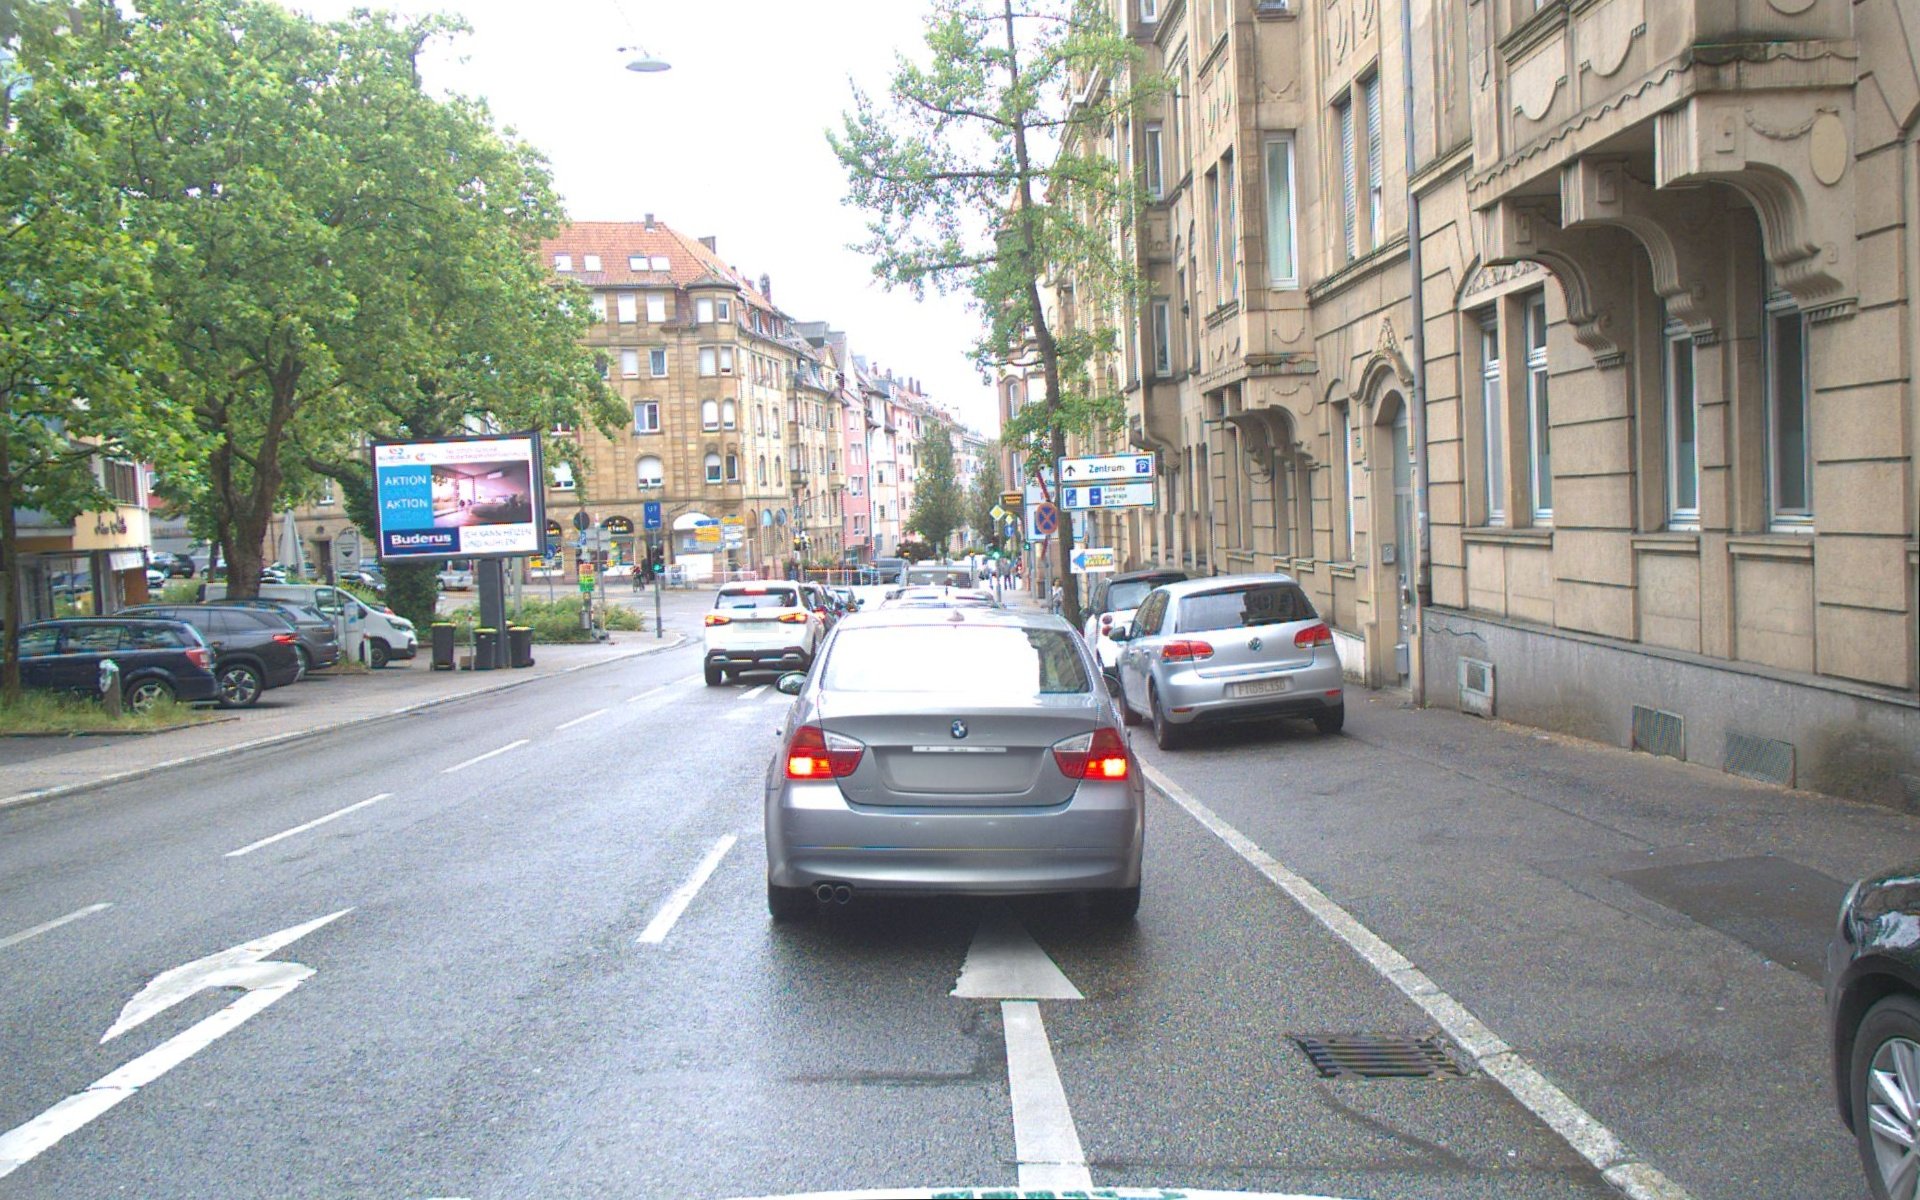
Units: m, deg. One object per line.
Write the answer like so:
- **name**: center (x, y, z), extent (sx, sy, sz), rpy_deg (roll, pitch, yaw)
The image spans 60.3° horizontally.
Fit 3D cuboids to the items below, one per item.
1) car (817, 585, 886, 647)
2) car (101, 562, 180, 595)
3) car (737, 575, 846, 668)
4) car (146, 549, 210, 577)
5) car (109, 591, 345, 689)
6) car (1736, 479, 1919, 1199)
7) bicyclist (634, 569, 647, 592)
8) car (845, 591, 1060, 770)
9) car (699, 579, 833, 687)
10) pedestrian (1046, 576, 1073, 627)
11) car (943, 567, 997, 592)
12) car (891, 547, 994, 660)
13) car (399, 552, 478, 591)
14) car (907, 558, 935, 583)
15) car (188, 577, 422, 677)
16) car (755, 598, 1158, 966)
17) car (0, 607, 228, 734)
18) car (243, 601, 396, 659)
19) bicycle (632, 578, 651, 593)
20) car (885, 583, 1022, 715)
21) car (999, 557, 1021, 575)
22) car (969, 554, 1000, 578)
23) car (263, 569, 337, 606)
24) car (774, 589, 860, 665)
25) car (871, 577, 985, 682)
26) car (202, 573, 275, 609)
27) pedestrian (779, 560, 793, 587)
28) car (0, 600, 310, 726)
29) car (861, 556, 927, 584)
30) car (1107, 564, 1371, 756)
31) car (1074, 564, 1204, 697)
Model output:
- **car**: center (-3.164, 0.436, 48.949), extent (1.723, 1.737, 4.000), rpy_deg (-1, 1, 0)
- **car**: center (-47.292, -1.231, 95.435), extent (4.155, 1.756, 1.998), rpy_deg (0, 3, 29)
- **car**: center (-3.300, 0.383, 33.070), extent (1.723, 1.737, 4.000), rpy_deg (-1, 1, 0)
- **car**: center (-50.712, -2.410, 107.222), extent (3.909, 1.718, 1.726), rpy_deg (1, 0, 27)
- **car**: center (-15.002, 0.792, 34.116), extent (4.295, 1.815, 1.927), rpy_deg (-2, 0, -22)
- **car**: center (2.818, 0.520, 1.955), extent (1.724, 1.679, 4.098), rpy_deg (-6, 1, 0)
- **bicyclist**: center (-18.508, -1.119, 95.813), extent (0.556, 1.295, 0.690), rpy_deg (1, -1, 11)
- **car**: center (-0.051, 0.638, 15.354), extent (1.723, 1.407, 4.000), rpy_deg (-1, 1, 0)
- **car**: center (-3.159, 0.501, 27.688), extent (1.830, 1.654, 3.999), rpy_deg (-1, 0, -1)
- **pedestrian**: center (3.080, 0.046, 51.319), extent (0.618, 1.534, 0.693), rpy_deg (-6, 0, -2)
- **car**: center (0.685, -1.390, 114.204), extent (1.957, 1.606, 3.991), rpy_deg (1, 0, 31)
- **car**: center (-0.360, 0.056, 33.356), extent (1.953, 2.143, 3.999), rpy_deg (0, 0, -1)
- **car**: center (-30.350, -1.662, 96.206), extent (4.196, 2.138, 1.998), rpy_deg (2, 2, 28)
- **car**: center (-2.418, -1.821, 102.958), extent (1.680, 1.476, 3.741), rpy_deg (-2, 0, -1)
- **car**: center (-15.465, 0.600, 39.264), extent (4.989, 2.142, 1.979), rpy_deg (-2, 0, -22)
- **car**: center (-0.002, 0.722, 8.393), extent (1.590, 1.407, 3.615), rpy_deg (-1, 1, 0)
- **car**: center (-13.001, 1.020, 23.921), extent (4.299, 1.601, 1.929), rpy_deg (-3, 1, -24)
- **car**: center (-18.001, 0.820, 46.566), extent (3.916, 1.476, 1.757), rpy_deg (-2, 0, -22)
- **bicycle**: center (-18.460, -0.833, 95.865), extent (0.561, 0.873, 1.523), rpy_deg (1, 0, 10)
- **car**: center (-0.058, 0.545, 20.978), extent (1.562, 1.490, 4.000), rpy_deg (0, 1, 0)
- **car**: center (3.734, -2.508, 122.904), extent (1.405, 1.195, 3.433), rpy_deg (1, 0, -2)
- **car**: center (1.805, -2.473, 120.783), extent (1.951, 1.606, 4.002), rpy_deg (1, 0, 5)
- **car**: center (-40.710, -0.780, 102.027), extent (4.196, 2.138, 1.998), rpy_deg (2, 2, 28)
- **car**: center (-3.450, 0.618, 40.560), extent (1.723, 1.737, 4.000), rpy_deg (-1, 1, 0)
- **car**: center (-0.478, 0.433, 27.412), extent (1.723, 1.594, 4.000), rpy_deg (-1, 1, 0)
- **car**: center (-45.325, -0.571, 103.893), extent (4.196, 2.138, 1.998), rpy_deg (2, 2, 28)
- **pedestrian**: center (-10.636, -1.634, 101.243), extent (0.716, 1.605, 0.528), rpy_deg (-1, 0, 8)
- **car**: center (-12.847, 0.957, 26.672), extent (4.308, 1.701, 1.842), rpy_deg (-3, 1, -24)
- **car**: center (-5.169, -2.367, 129.713), extent (5.072, 2.049, 2.698), rpy_deg (1, 0, -1)
- **car**: center (2.591, 0.496, 16.290), extent (1.725, 1.476, 3.999), rpy_deg (-6, 1, -1)
- **car**: center (2.399, 0.374, 22.703), extent (1.273, 1.569, 2.975), rpy_deg (-6, 1, -1)
